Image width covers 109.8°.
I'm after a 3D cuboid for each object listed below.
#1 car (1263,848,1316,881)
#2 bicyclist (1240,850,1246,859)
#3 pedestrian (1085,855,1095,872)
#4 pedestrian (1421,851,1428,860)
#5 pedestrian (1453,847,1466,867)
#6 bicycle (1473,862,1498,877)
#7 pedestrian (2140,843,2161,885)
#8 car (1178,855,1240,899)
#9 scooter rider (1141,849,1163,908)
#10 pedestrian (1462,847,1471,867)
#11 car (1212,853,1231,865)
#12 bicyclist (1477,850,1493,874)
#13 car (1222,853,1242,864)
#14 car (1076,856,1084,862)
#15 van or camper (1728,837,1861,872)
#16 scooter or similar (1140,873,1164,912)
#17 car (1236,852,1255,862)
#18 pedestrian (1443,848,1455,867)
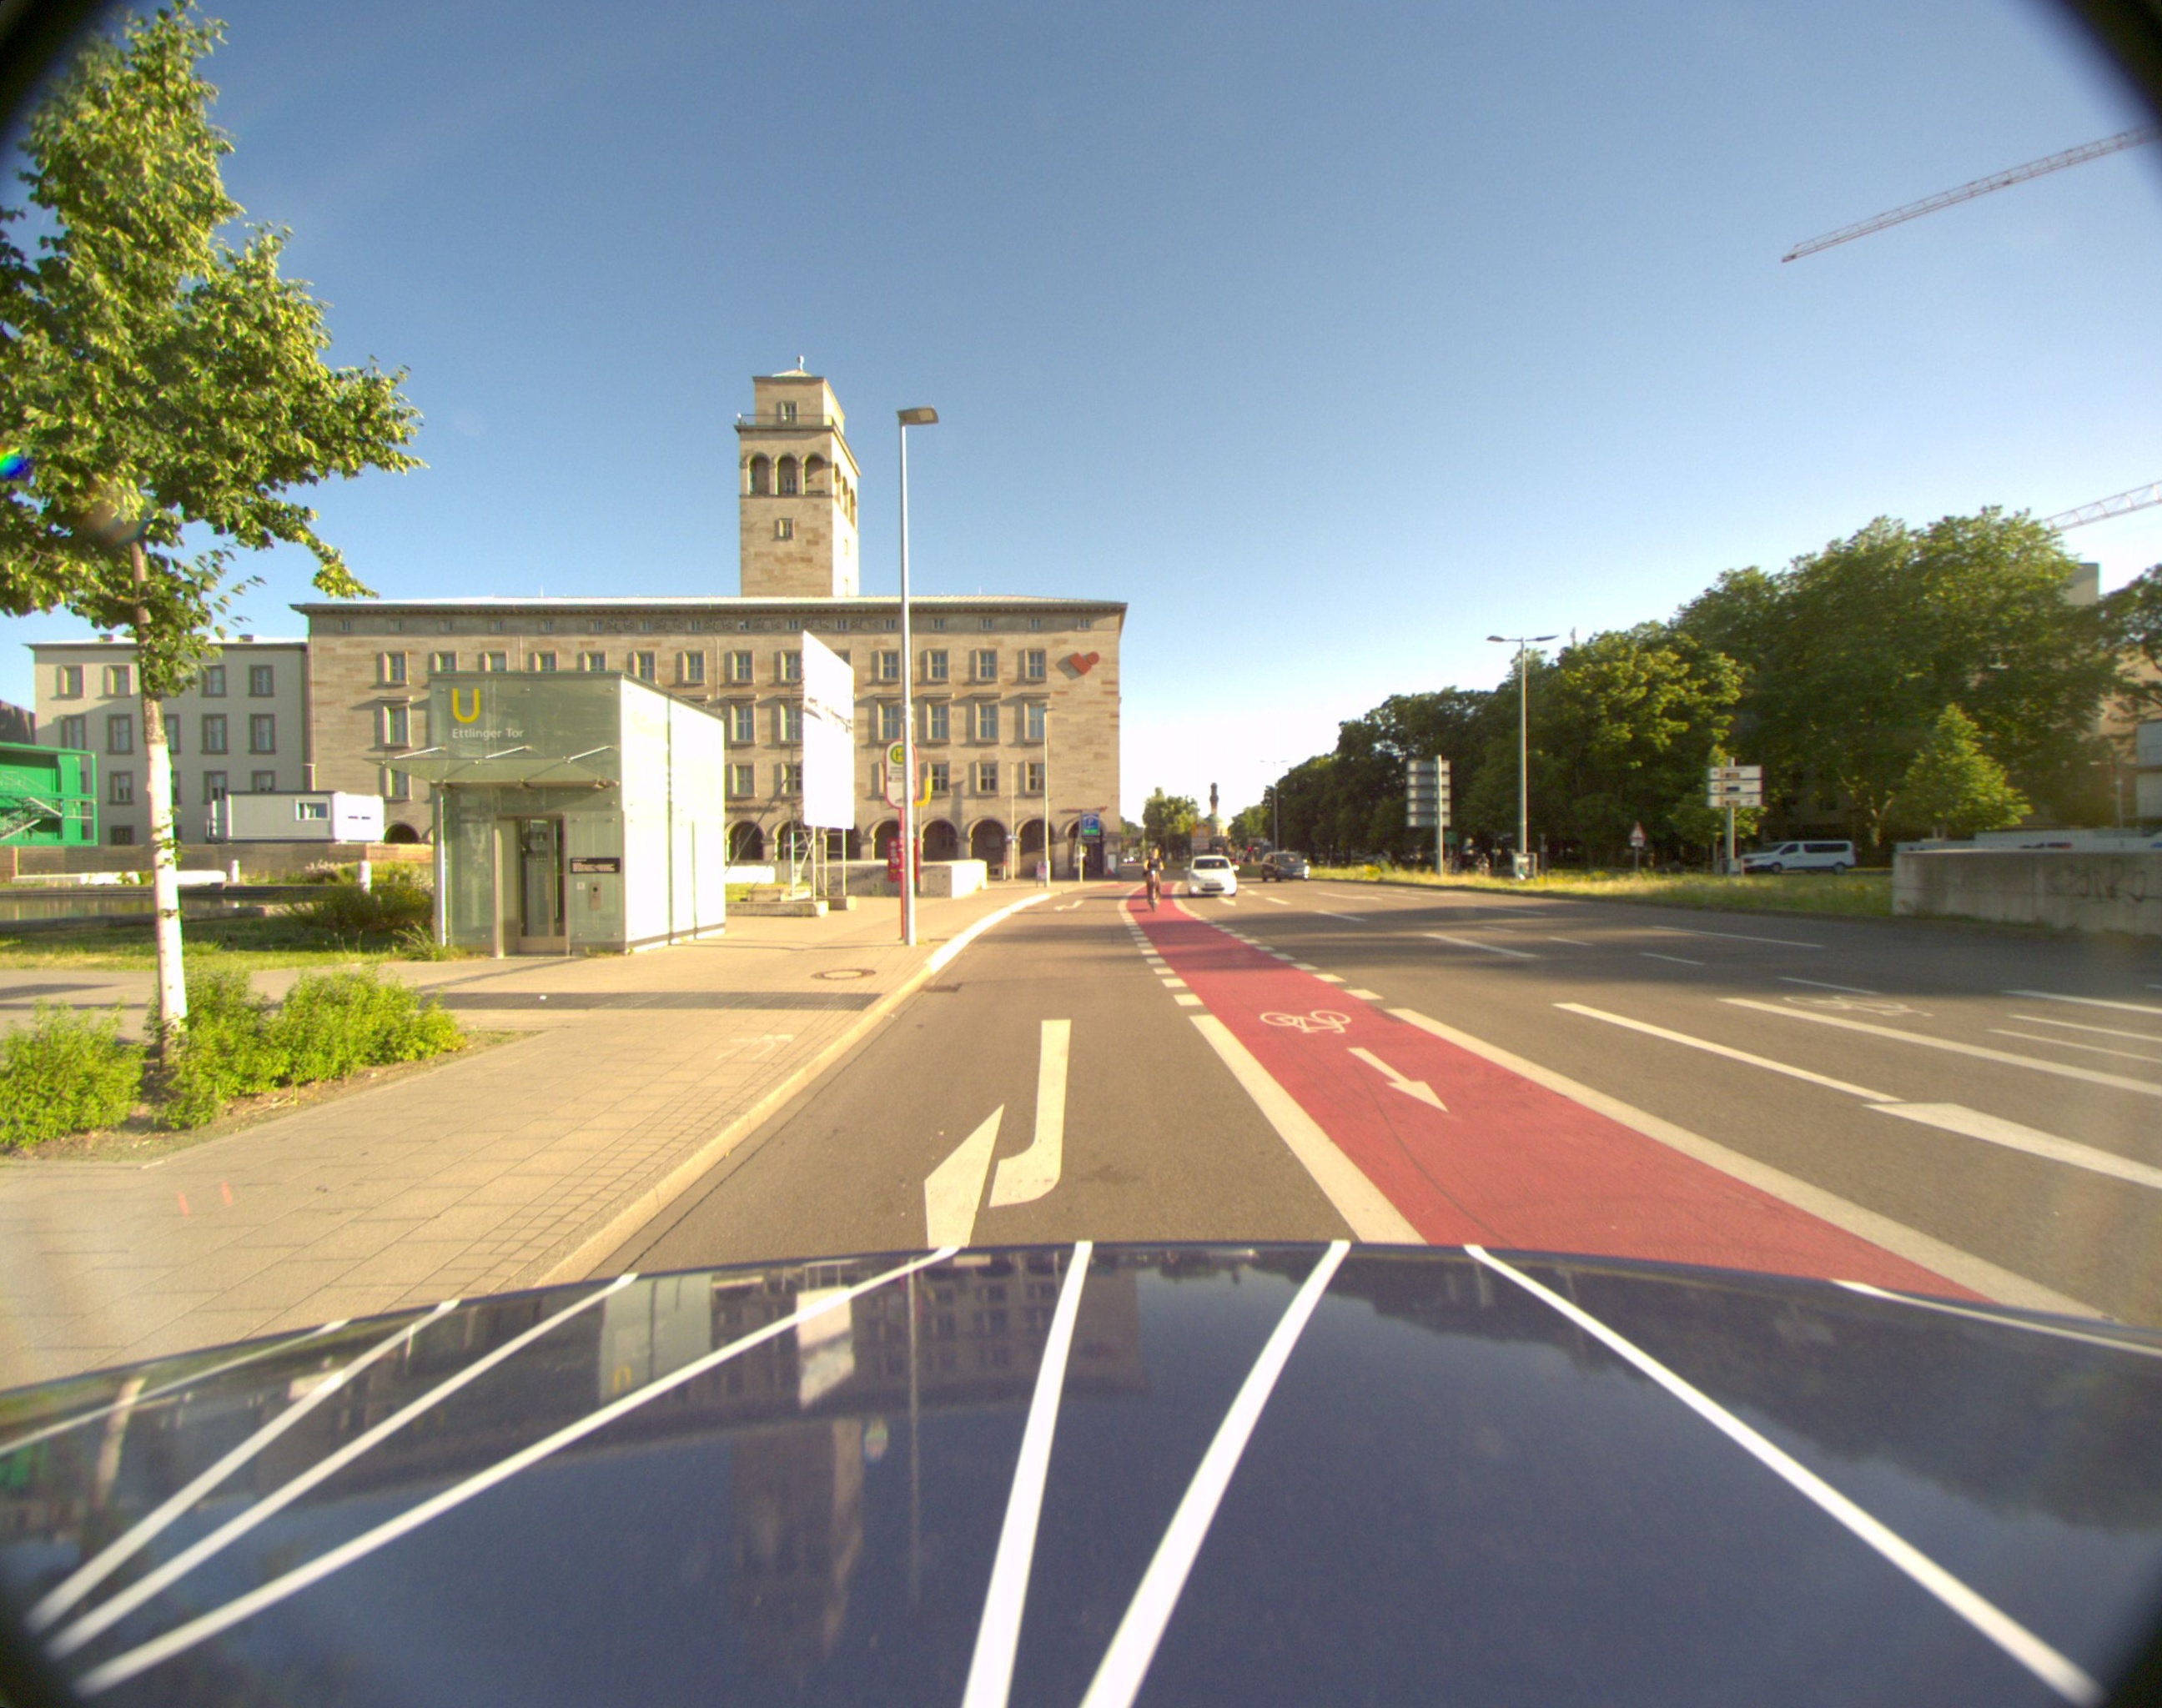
[{"bbox_3d":[11.251,0.532,41.272,1.733,1.629,4.000,-2,0,1],"label":"car"},{"bbox_3d":[31.520,0.097,147.489,0.850,1.610,0.974,0,1,29],"label":"bicyclist"},{"bbox_3d":[0.813,0.869,69.544,0.778,1.560,0.952,-1,0,-2],"label":"pedestrian"},{"bbox_3d":[52.656,0.276,116.479,0.733,1.332,0.599,-1,1,2],"label":"pedestrian"},{"bbox_3d":[32.974,0.282,66.193,0.773,1.730,0.761,-1,1,3],"label":"pedestrian"},{"bbox_3d":[24.406,0.908,45.880,0.613,0.856,1.951,-1,0,5],"label":"bicycle"},{"bbox_3d":[40.258,0.383,28.261,0.581,1.549,0.835,-1,0,-2],"label":"pedestrian"},{"bbox_3d":[4.645,0.782,28.083,1.678,1.455,3.765,-2,0,1],"label":"car"},{"bbox_3d":[1.975,0.671,21.114,0.562,1.622,0.650,0,1,10],"label":"scooter rider"},{"bbox_3d":[33.724,0.237,66.486,0.525,1.730,0.655,-1,1,3],"label":"pedestrian"},{"bbox_3d":[20.999,0.745,113.806,1.999,1.666,4.549,0,0,0],"label":"car"},{"bbox_3d":[24.399,0.482,45.897,0.608,1.480,0.681,-1,0,5],"label":"bicyclist"},{"bbox_3d":[21.310,0.612,107.520,1.999,1.555,4.060,0,0,0],"label":"car"},{"bbox_3d":[-0.168,1.225,189.570,1.999,1.564,4.549,0,0,0],"label":"car"},{"bbox_3d":[42.284,-0.002,45.158,5.677,2.002,2.257,0,2,1],"label":"van or camper"},{"bbox_3d":[1.996,1.068,21.185,0.556,1.025,1.118,0,0,11],"label":"scooter or similar"},{"bbox_3d":[25.906,0.459,119.746,1.938,1.517,4.587,-1,0,0],"label":"car"},{"bbox_3d":[32.095,0.324,66.232,0.744,1.631,0.726,-1,1,3],"label":"pedestrian"}]
